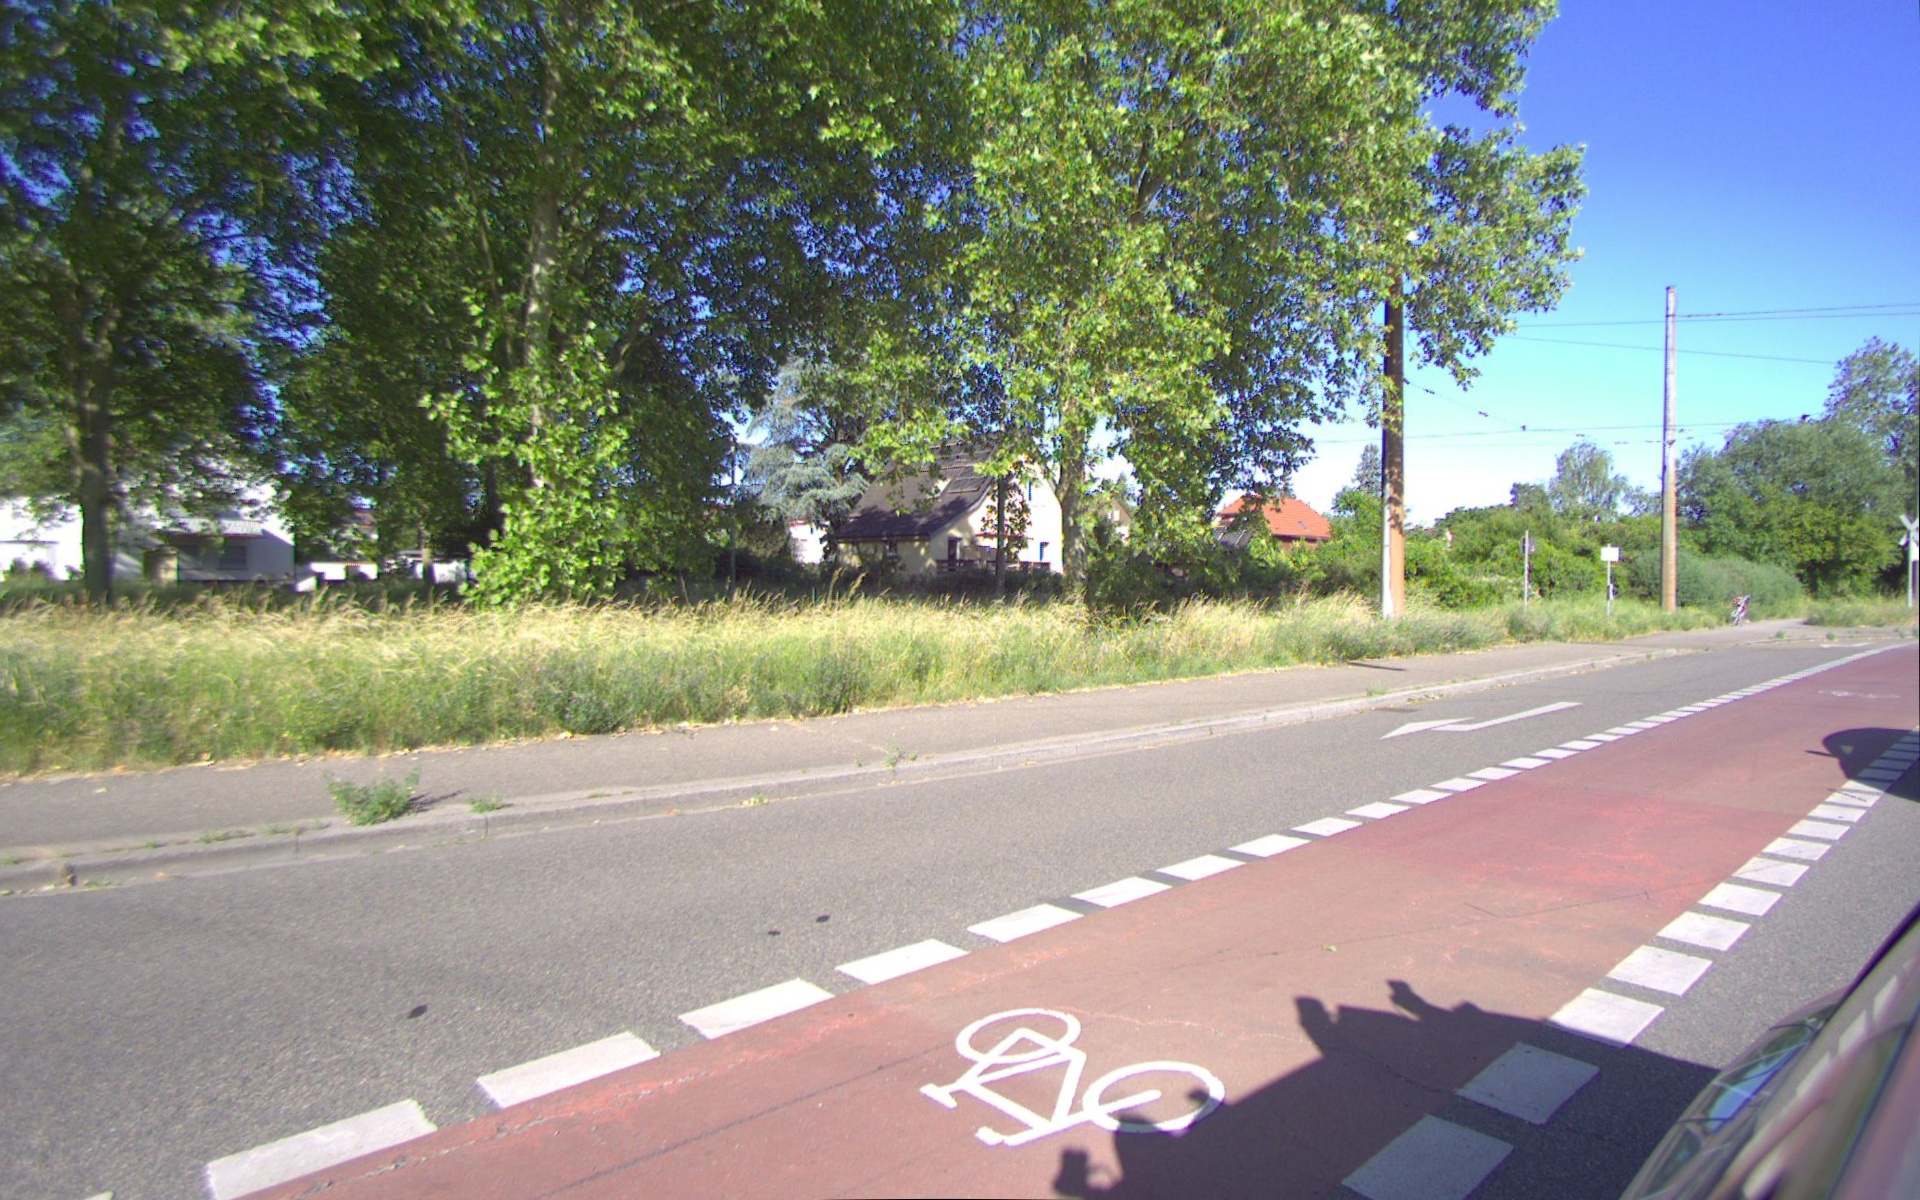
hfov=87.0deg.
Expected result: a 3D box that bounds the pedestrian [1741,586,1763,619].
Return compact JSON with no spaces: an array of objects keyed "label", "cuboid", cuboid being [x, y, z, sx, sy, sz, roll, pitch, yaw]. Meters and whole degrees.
[{"label":"pedestrian","cuboid":[25.854,0.079,33.044,0.446,1.046,0.482,0,1,-41]}]
